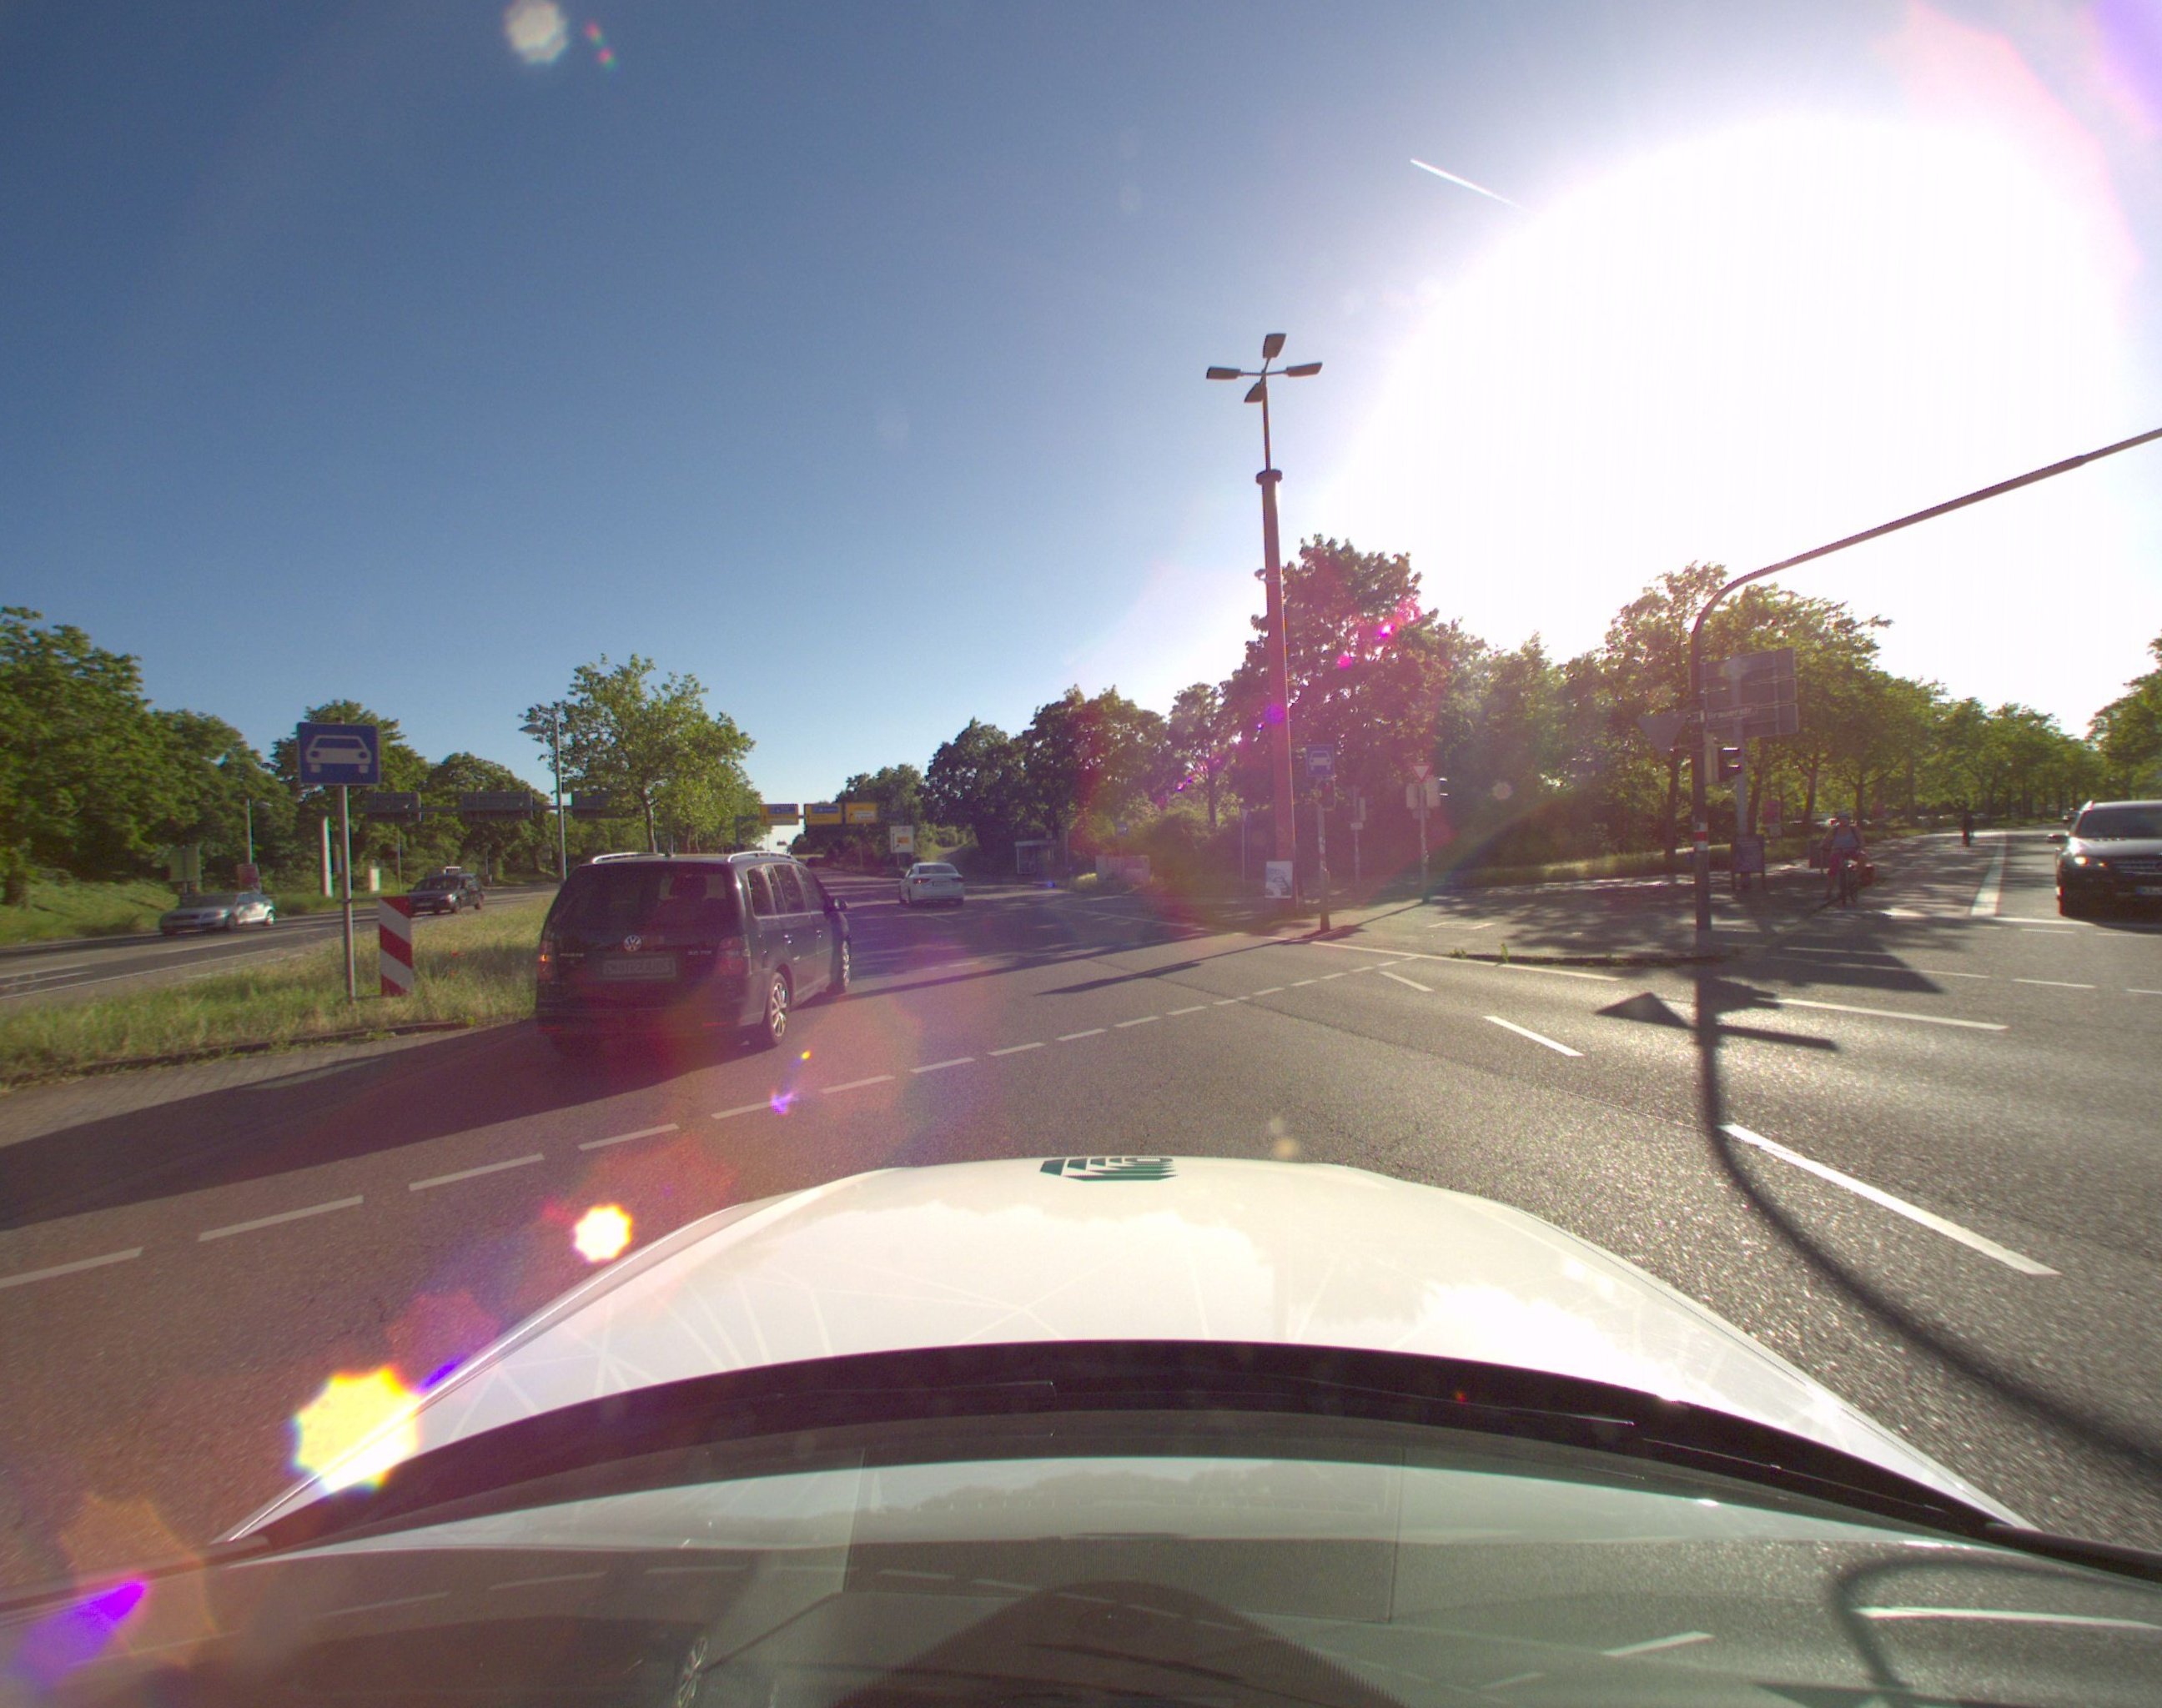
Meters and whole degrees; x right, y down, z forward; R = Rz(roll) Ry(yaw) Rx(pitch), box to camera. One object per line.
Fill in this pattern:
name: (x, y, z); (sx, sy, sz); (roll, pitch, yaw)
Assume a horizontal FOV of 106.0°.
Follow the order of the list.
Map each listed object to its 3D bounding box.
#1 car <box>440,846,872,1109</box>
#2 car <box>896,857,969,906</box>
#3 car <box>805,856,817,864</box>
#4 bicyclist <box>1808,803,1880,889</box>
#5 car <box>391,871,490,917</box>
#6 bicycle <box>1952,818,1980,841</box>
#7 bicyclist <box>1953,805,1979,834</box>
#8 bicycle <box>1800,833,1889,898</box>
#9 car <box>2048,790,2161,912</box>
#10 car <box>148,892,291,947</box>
car: (-3.409, 0.780, 7.824); (1.764, 1.644, 4.917); (-2, 1, -4)
car: (-5.208, 0.891, 28.099); (1.773, 1.464, 4.337); (-2, 1, -19)
car: (-48.851, 1.058, 147.337); (1.774, 1.464, 4.336); (-2, 1, -21)
bicyclist: (14.615, -0.154, 15.594); (0.985, 1.557, 0.753); (-3, 1, -33)
car: (-25.941, 1.560, 33.194); (1.907, 1.565, 4.531); (-4, 1, -22)
bicycle: (43.933, -1.231, 40.428); (2.024, 1.091, 0.729); (-3, 0, -37)
bicyclist: (43.986, -1.715, 40.488); (0.970, 1.436, 0.729); (-3, 0, -36)
bicycle: (14.593, 0.203, 15.557); (2.023, 1.091, 0.758); (-4, 1, -33)
car: (17.064, -0.128, 13.104); (4.678, 1.726, 1.886); (-3, 1, -40)
car: (-32.316, 2.382, 30.749); (1.907, 1.610, 4.531); (-4, 1, -22)
